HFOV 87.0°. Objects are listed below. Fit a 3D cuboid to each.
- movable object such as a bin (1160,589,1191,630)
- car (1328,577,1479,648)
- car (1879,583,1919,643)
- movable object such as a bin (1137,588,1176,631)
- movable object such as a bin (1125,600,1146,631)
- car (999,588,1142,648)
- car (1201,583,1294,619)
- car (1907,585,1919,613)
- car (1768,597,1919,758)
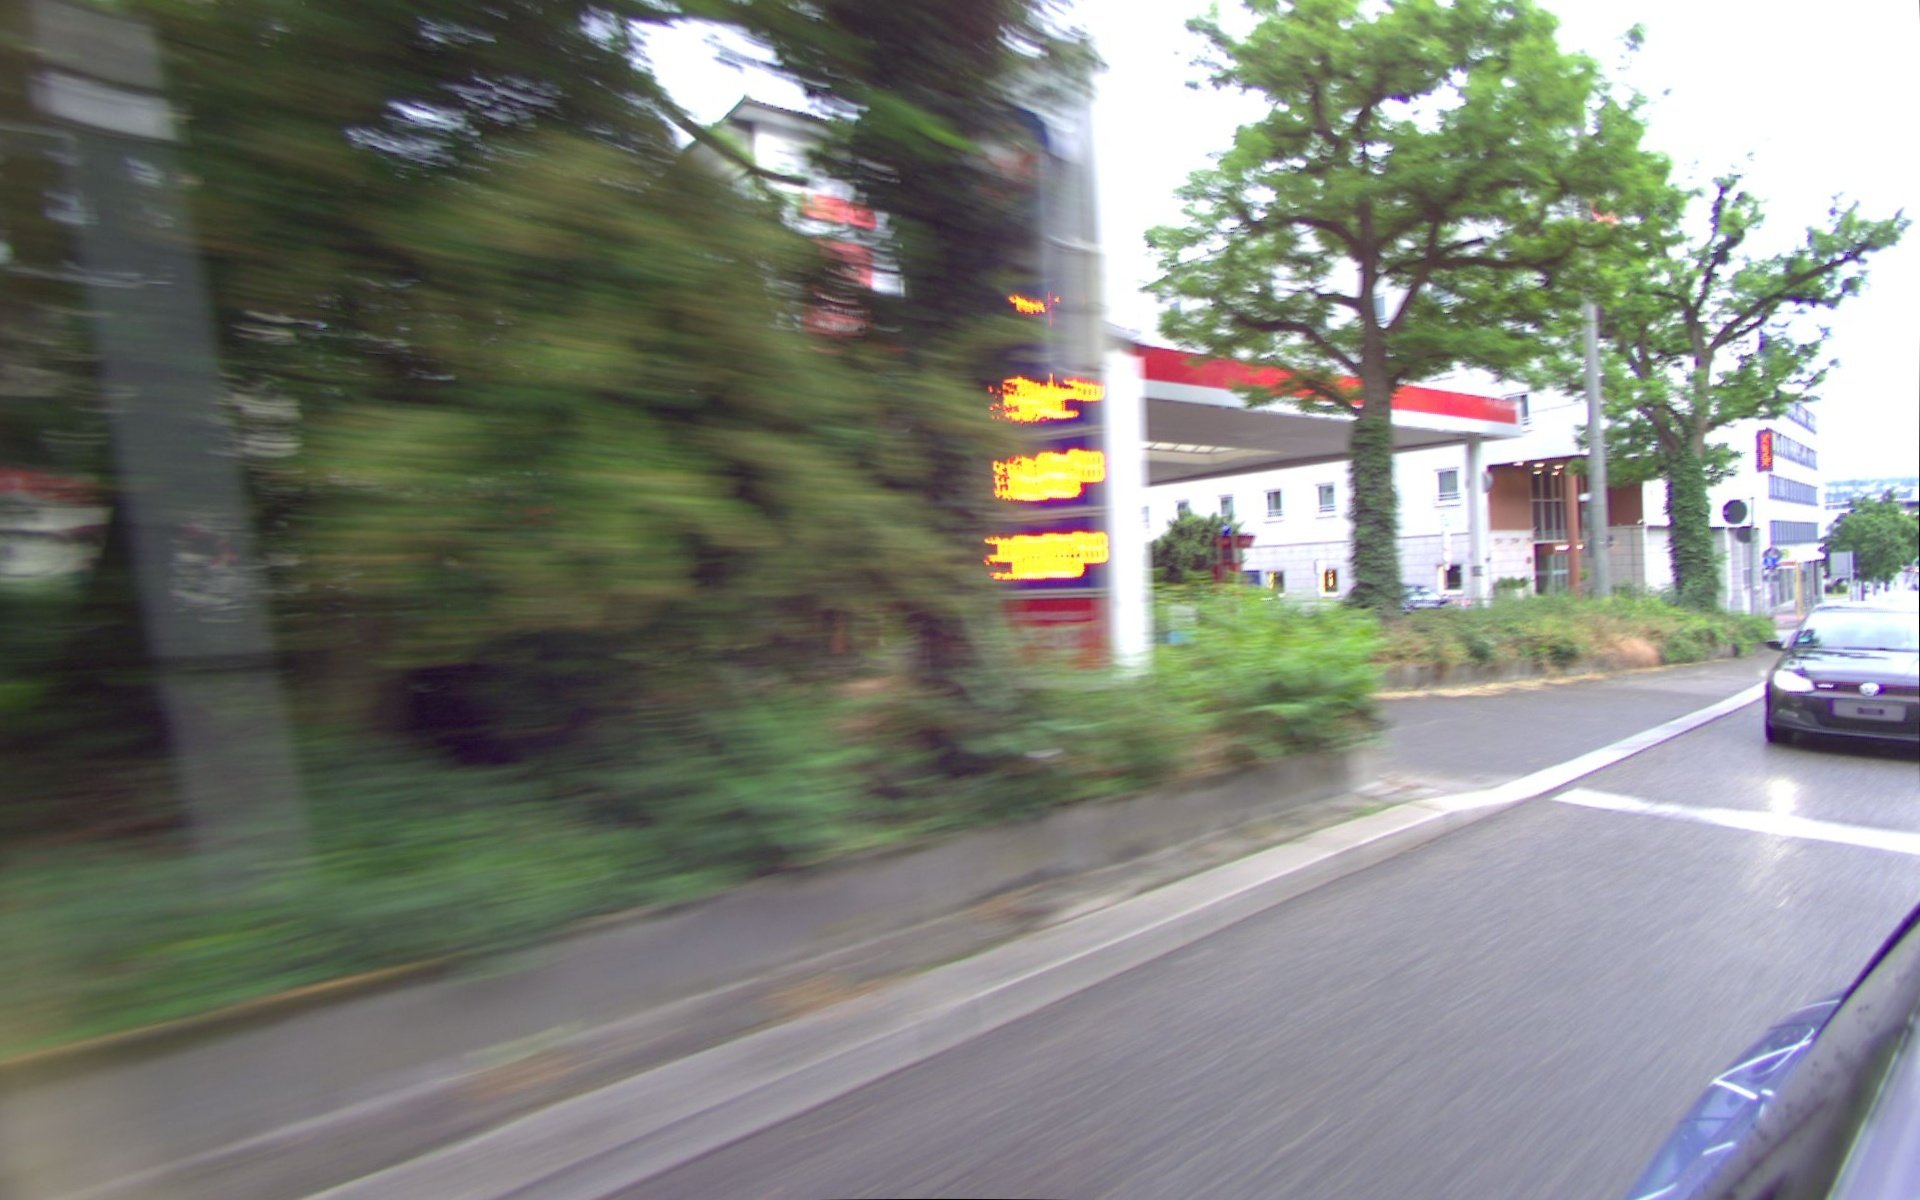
[{"bbox_3d":[8.370,0.367,39.242,0.896,1.586,0.766,0,-1,-37],"label":"movable object such as a bin"},{"bbox_3d":[11.240,0.261,25.579,3.792,1.644,1.778,-1,1,-34],"label":"car"},{"bbox_3d":[25.346,0.299,26.346,3.644,1.459,1.748,-2,-1,-42],"label":"car"},{"bbox_3d":[7.481,0.351,38.566,1.335,1.586,0.766,0,-1,-37],"label":"movable object such as a bin"},{"bbox_3d":[6.603,0.591,38.082,0.648,1.155,0.454,0,-1,-37],"label":"movable object such as a bin"},{"bbox_3d":[3.251,0.515,29.490,3.927,1.530,1.798,-2,-2,-37],"label":"car"},{"bbox_3d":[13.631,0.095,48.151,1.766,1.530,3.998,0,-3,-35],"label":"car"},{"bbox_3d":[71.050,-0.122,74.570,1.793,1.970,3.938,-1,0,43],"label":"car"},{"bbox_3d":[9.831,0.687,10.453,3.782,1.417,1.676,0,1,-41],"label":"car"}]
